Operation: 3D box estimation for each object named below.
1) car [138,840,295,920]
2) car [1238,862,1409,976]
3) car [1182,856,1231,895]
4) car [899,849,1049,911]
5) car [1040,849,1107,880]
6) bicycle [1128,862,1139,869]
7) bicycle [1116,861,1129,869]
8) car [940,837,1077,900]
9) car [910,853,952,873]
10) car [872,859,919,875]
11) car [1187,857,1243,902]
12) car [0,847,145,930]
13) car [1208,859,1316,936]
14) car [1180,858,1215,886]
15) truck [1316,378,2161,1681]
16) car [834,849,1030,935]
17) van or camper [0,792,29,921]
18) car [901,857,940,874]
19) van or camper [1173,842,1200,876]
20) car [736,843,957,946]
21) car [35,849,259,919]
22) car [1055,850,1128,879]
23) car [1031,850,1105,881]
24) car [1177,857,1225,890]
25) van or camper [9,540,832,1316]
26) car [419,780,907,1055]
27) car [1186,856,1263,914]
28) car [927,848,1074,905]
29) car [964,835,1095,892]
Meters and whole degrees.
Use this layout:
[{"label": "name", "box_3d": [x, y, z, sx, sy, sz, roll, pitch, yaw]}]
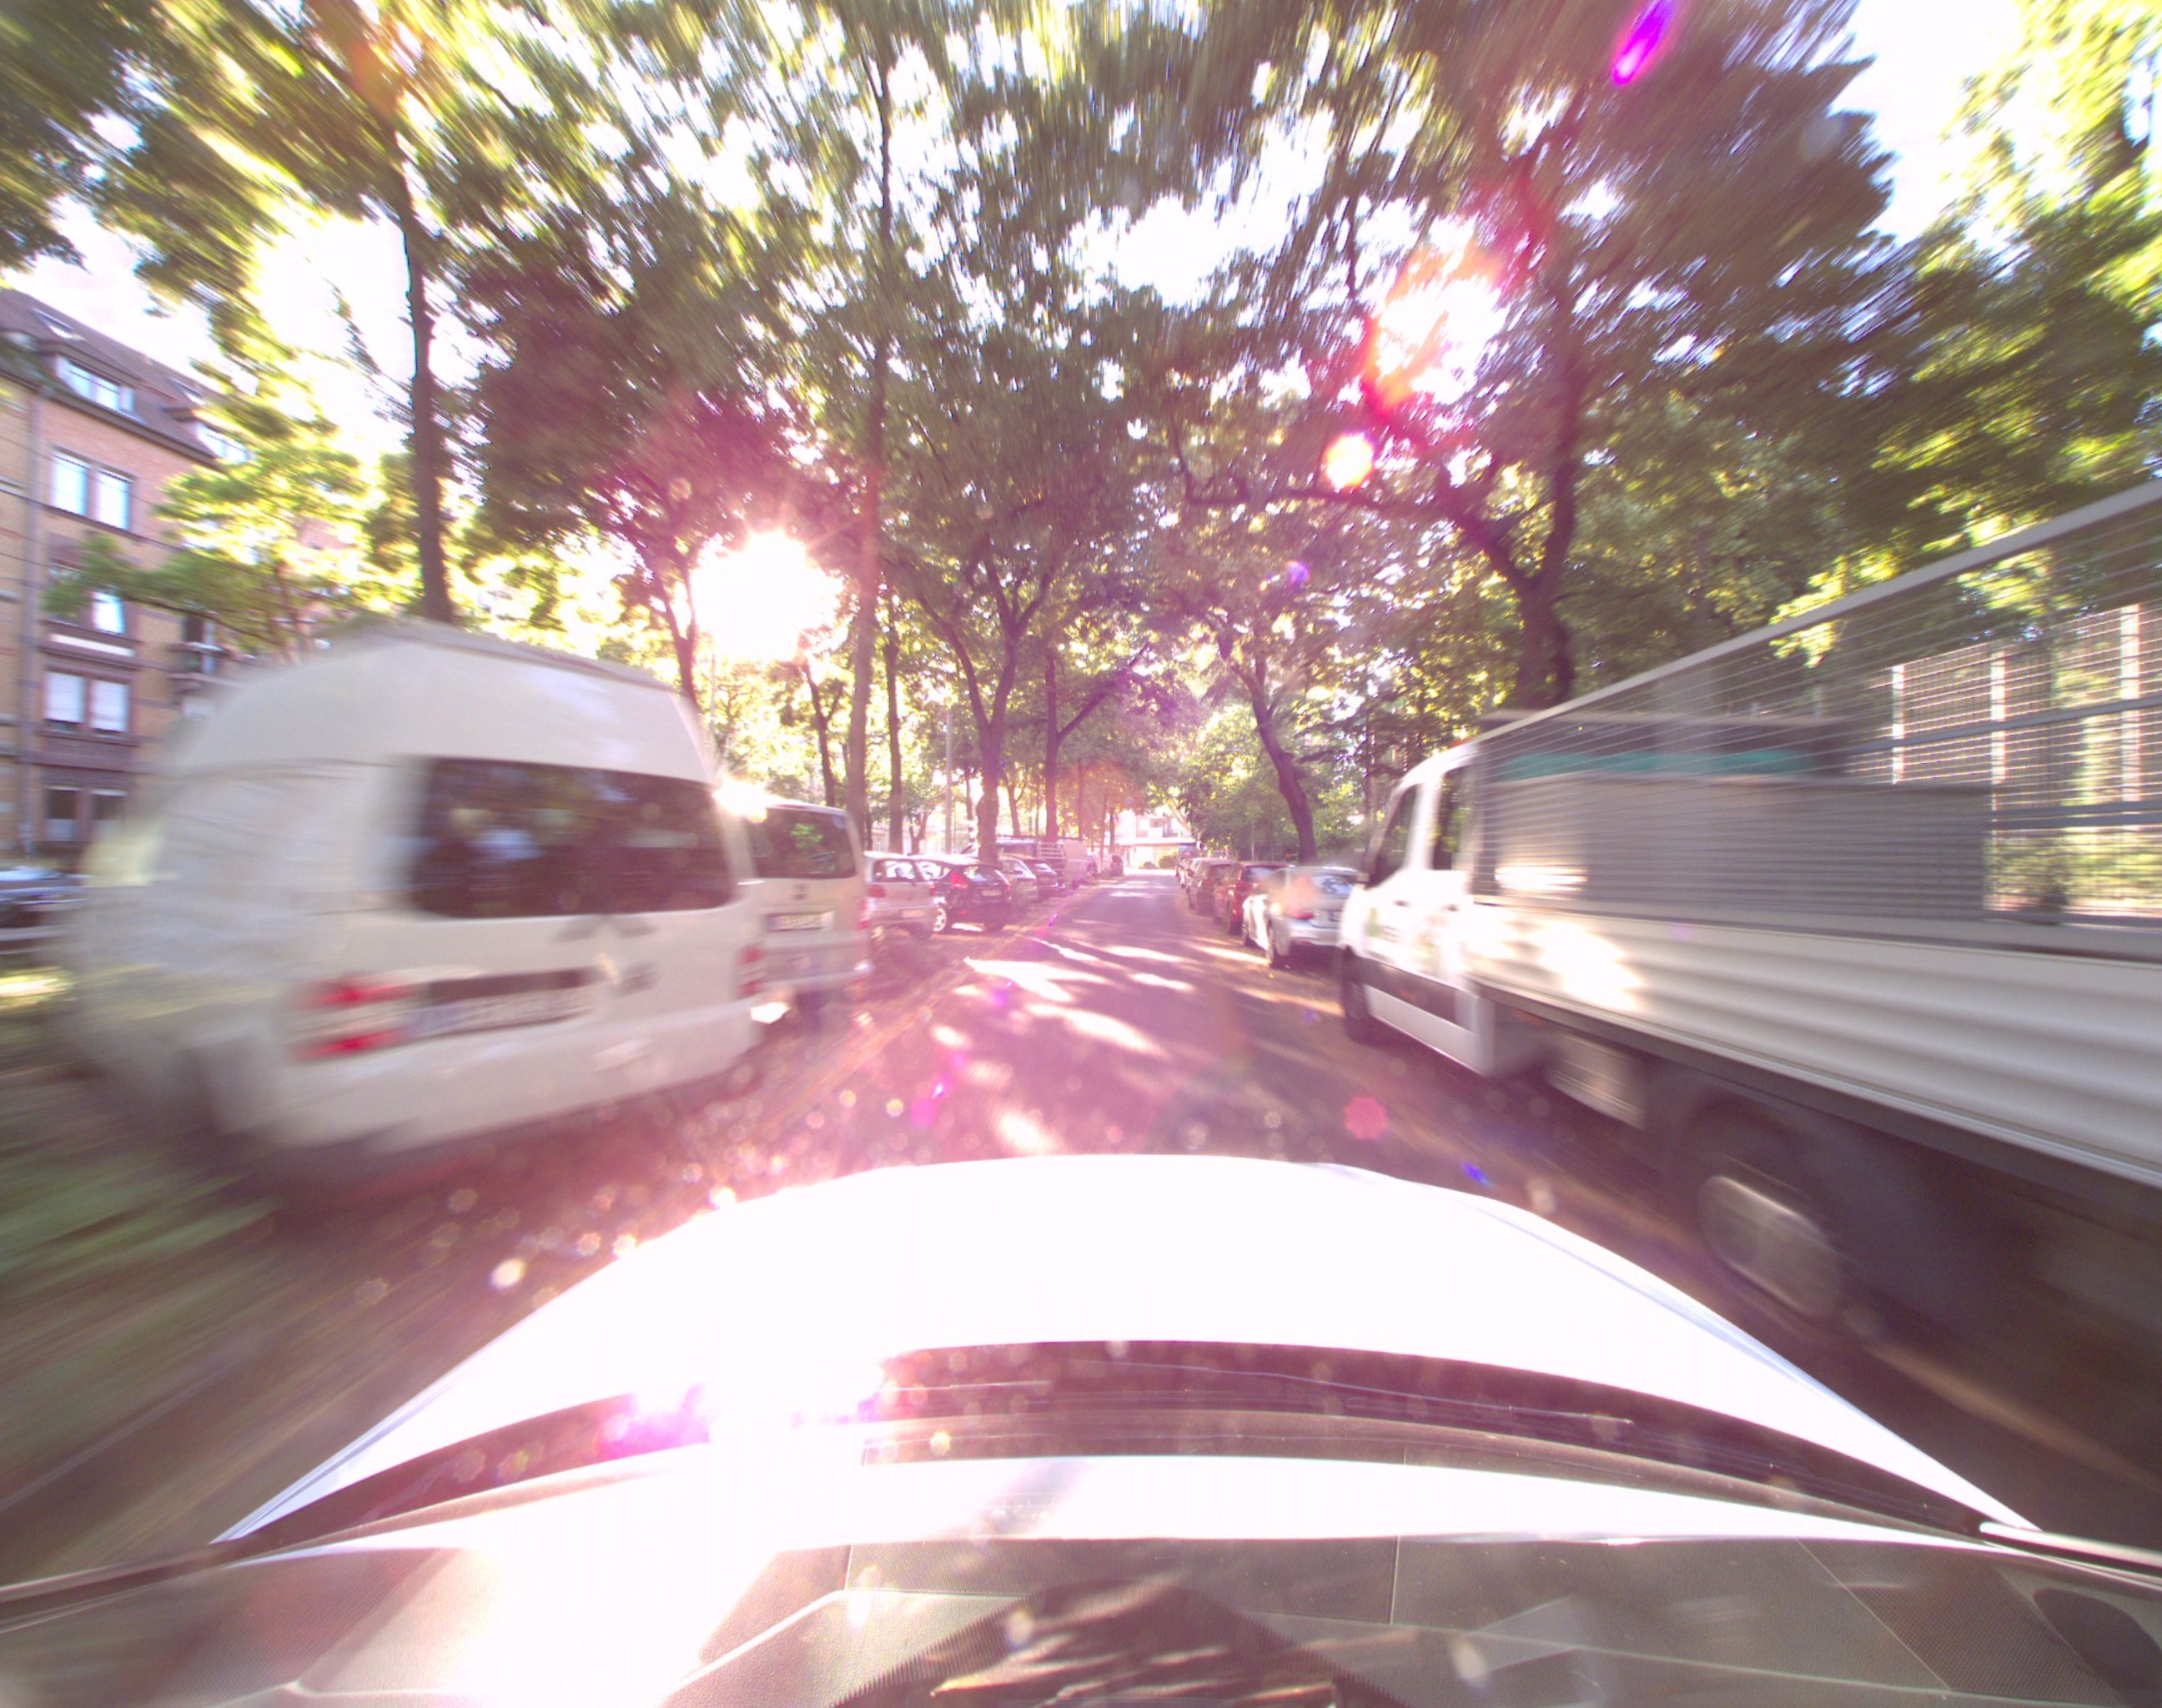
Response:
[{"label": "car", "box_3d": [-19.321, 0.541, 18.153, 4.268, 1.582, 1.919, -1, 0, 37]}, {"label": "car", "box_3d": [3.484, 0.844, 12.479, 1.664, 1.397, 4.304, 0, 0, 4]}, {"label": "car", "box_3d": [5.033, 0.831, 33.062, 1.673, 1.454, 4.081, 0, 0, 4]}, {"label": "car", "box_3d": [-3.102, 0.693, 23.274, 4.041, 1.488, 1.795, 3, 0, 35]}, {"label": "car", "box_3d": [-0.510, 0.653, 53.327, 4.108, 1.781, 1.895, 3, 0, 41]}, {"label": "bicycle", "box_3d": [6.855, 1.447, 106.816, 0.546, 0.904, 1.719, 0, -1, -29]}, {"label": "bicycle", "box_3d": [5.571, 1.431, 108.757, 0.643, 1.022, 2.066, 0, -1, -34]}, {"label": "car", "box_3d": [-2.615, 0.488, 28.909, 4.653, 1.943, 1.946, 3, 0, 37]}, {"label": "car", "box_3d": [-15.209, 0.917, 82.661, 3.948, 2.014, 2.013, -1, -1, 36]}, {"label": "car", "box_3d": [-15.956, 1.100, 70.095, 3.691, 1.381, 1.738, 0, 0, 29]}, {"label": "car", "box_3d": [4.532, 0.823, 27.844, 1.583, 1.454, 3.559, 0, 0, 4]}, {"label": "car", "box_3d": [-19.465, 0.689, 15.418, 4.268, 1.385, 1.919, -4, -2, 36]}, {"label": "car", "box_3d": [3.746, 0.832, 17.430, 1.665, 1.454, 3.953, 0, 0, 3]}, {"label": "car", "box_3d": [6.231, 0.917, 44.012, 1.672, 1.424, 4.666, 0, 0, 5]}, {"label": "truck", "box_3d": [3.255, 0.339, 4.372, 2.286, 2.386, 6.938, 0, 0, 2]}, {"label": "car", "box_3d": [-3.109, 0.717, 16.706, 3.776, 1.439, 1.837, 3, 0, 38]}, {"label": "van or camper", "box_3d": [-27.208, 0.052, 17.402, 2.066, 3.109, 5.518, 0, 0, 3]}, {"label": "car", "box_3d": [-15.617, 1.144, 79.319, 3.603, 1.640, 1.671, -1, -1, 34]}, {"label": "van or camper", "box_3d": [8.886, 0.408, 69.077, 2.073, 2.762, 5.855, 0, 0, 6]}, {"label": "car", "box_3d": [-4.183, 0.654, 14.449, 3.505, 1.493, 1.837, 3, 0, 33]}, {"label": "car", "box_3d": [-26.927, 0.795, 23.718, 1.843, 1.782, 3.919, 2, 1, 3]}, {"label": "car", "box_3d": [0.727, 0.755, 59.200, 4.938, 1.781, 2.000, 3, 0, 33]}, {"label": "car", "box_3d": [-0.822, 0.688, 50.114, 4.107, 1.644, 1.927, 3, 0, 37]}, {"label": "car", "box_3d": [5.544, 0.877, 38.024, 1.675, 1.454, 4.076, 0, 0, 0]}, {"label": "van or camper", "box_3d": [-3.991, 0.168, 4.712, 4.824, 2.470, 2.057, 2, -1, 31]}, {"label": "car", "box_3d": [-4.250, 0.401, 8.030, 4.824, 1.978, 2.058, 2, -1, 33]}, {"label": "car", "box_3d": [3.902, 0.801, 22.606, 1.665, 1.454, 3.953, 0, 0, 3]}, {"label": "car", "box_3d": [-2.636, 0.687, 26.138, 4.513, 1.541, 1.946, 3, 0, 37]}, {"label": "car", "box_3d": [-2.279, 0.376, 35.258, 5.444, 2.137, 2.094, 3, 0, 34]}]
